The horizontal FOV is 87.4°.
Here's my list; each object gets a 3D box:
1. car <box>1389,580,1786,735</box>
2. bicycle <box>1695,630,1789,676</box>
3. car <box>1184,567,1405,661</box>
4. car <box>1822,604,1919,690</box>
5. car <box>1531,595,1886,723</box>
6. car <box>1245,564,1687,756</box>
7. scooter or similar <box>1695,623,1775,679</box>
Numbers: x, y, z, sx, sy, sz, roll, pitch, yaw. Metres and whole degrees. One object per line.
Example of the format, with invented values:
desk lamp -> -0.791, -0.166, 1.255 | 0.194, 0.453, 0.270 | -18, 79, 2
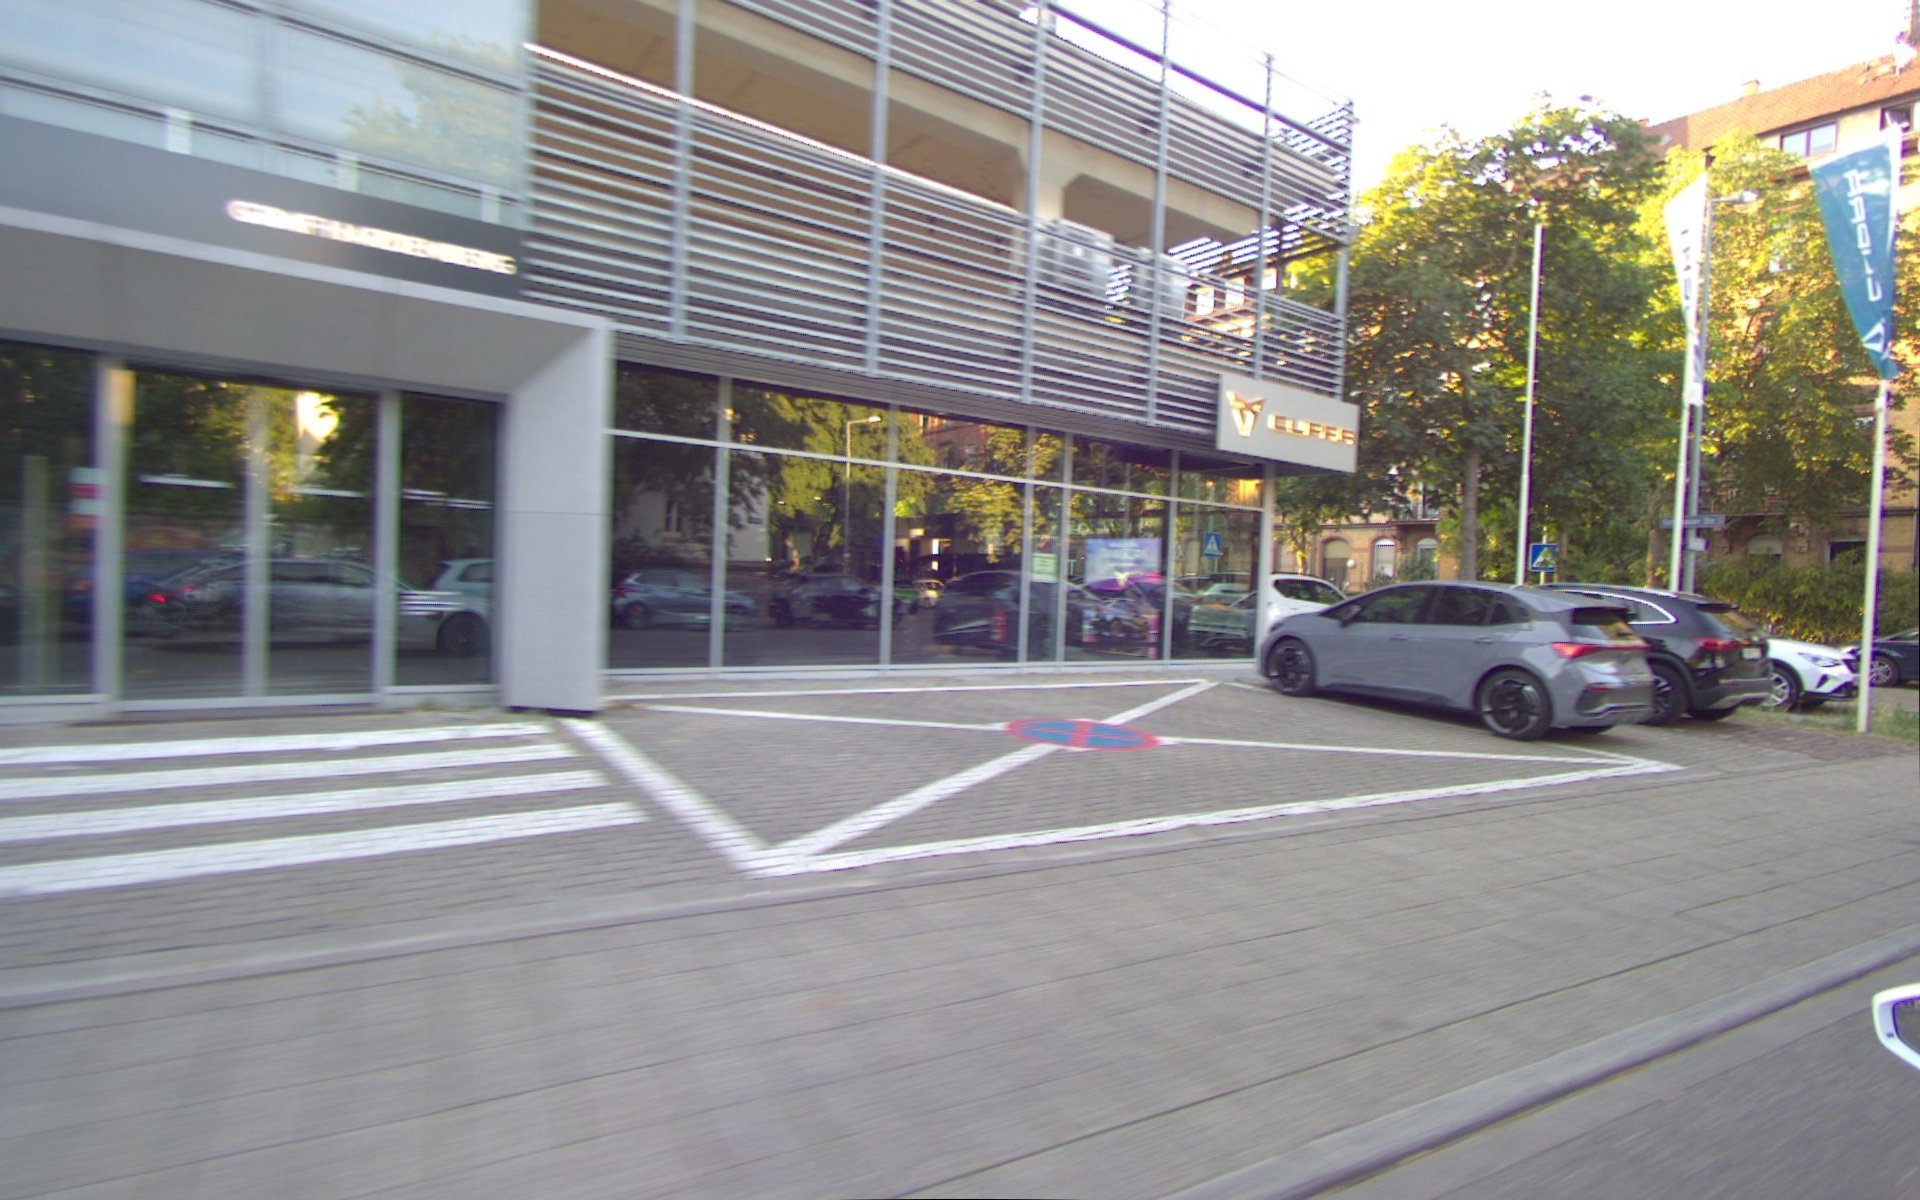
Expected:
car -> 7.963, 0.598, 13.163 | 1.745, 1.640, 4.045 | 0, 2, -31
bicycle -> 19.827, 1.331, 25.511 | 1.831, 1.042, 0.444 | 2, 2, 37
car -> 6.305, 0.262, 18.796 | 4.179, 1.571, 1.691 | 2, 1, -34
car -> 21.556, 1.079, 21.165 | 1.901, 1.756, 4.796 | 0, 3, -35
car -> 11.563, 0.797, 15.808 | 1.900, 1.495, 4.021 | 0, 4, -33
car -> 5.525, 0.502, 11.538 | 1.891, 1.640, 4.107 | 0, 4, -31
scooter or similar -> 18.961, 1.232, 24.617 | 1.493, 1.241, 0.444 | 2, 2, 37
